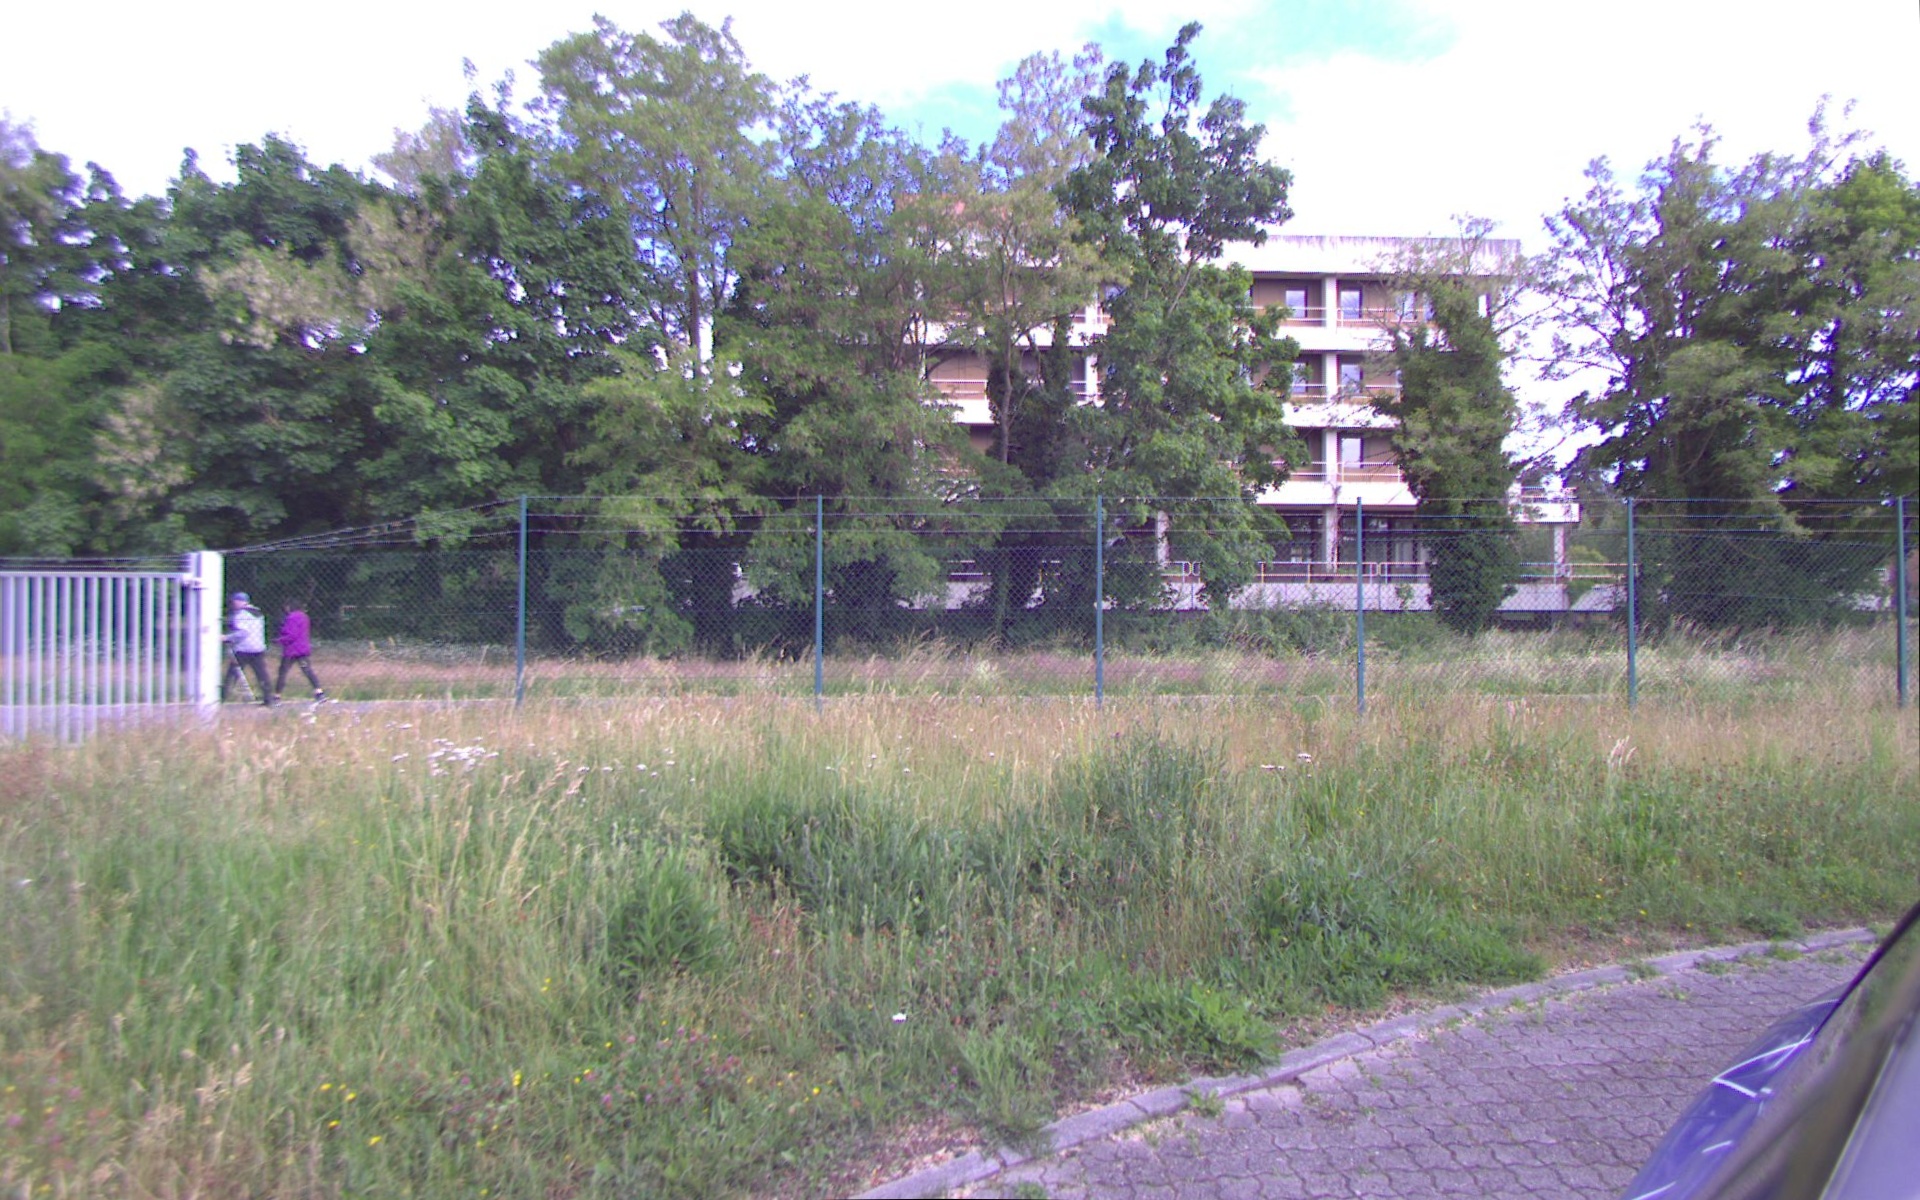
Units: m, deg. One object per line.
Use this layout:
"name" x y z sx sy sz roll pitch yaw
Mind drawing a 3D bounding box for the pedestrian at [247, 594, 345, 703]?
"pedestrian" -10.039 0.716 15.327 1.015 1.594 0.737 0 0 0

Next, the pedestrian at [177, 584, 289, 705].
"pedestrian" -10.510 0.617 14.667 1.018 1.703 0.844 0 0 3
